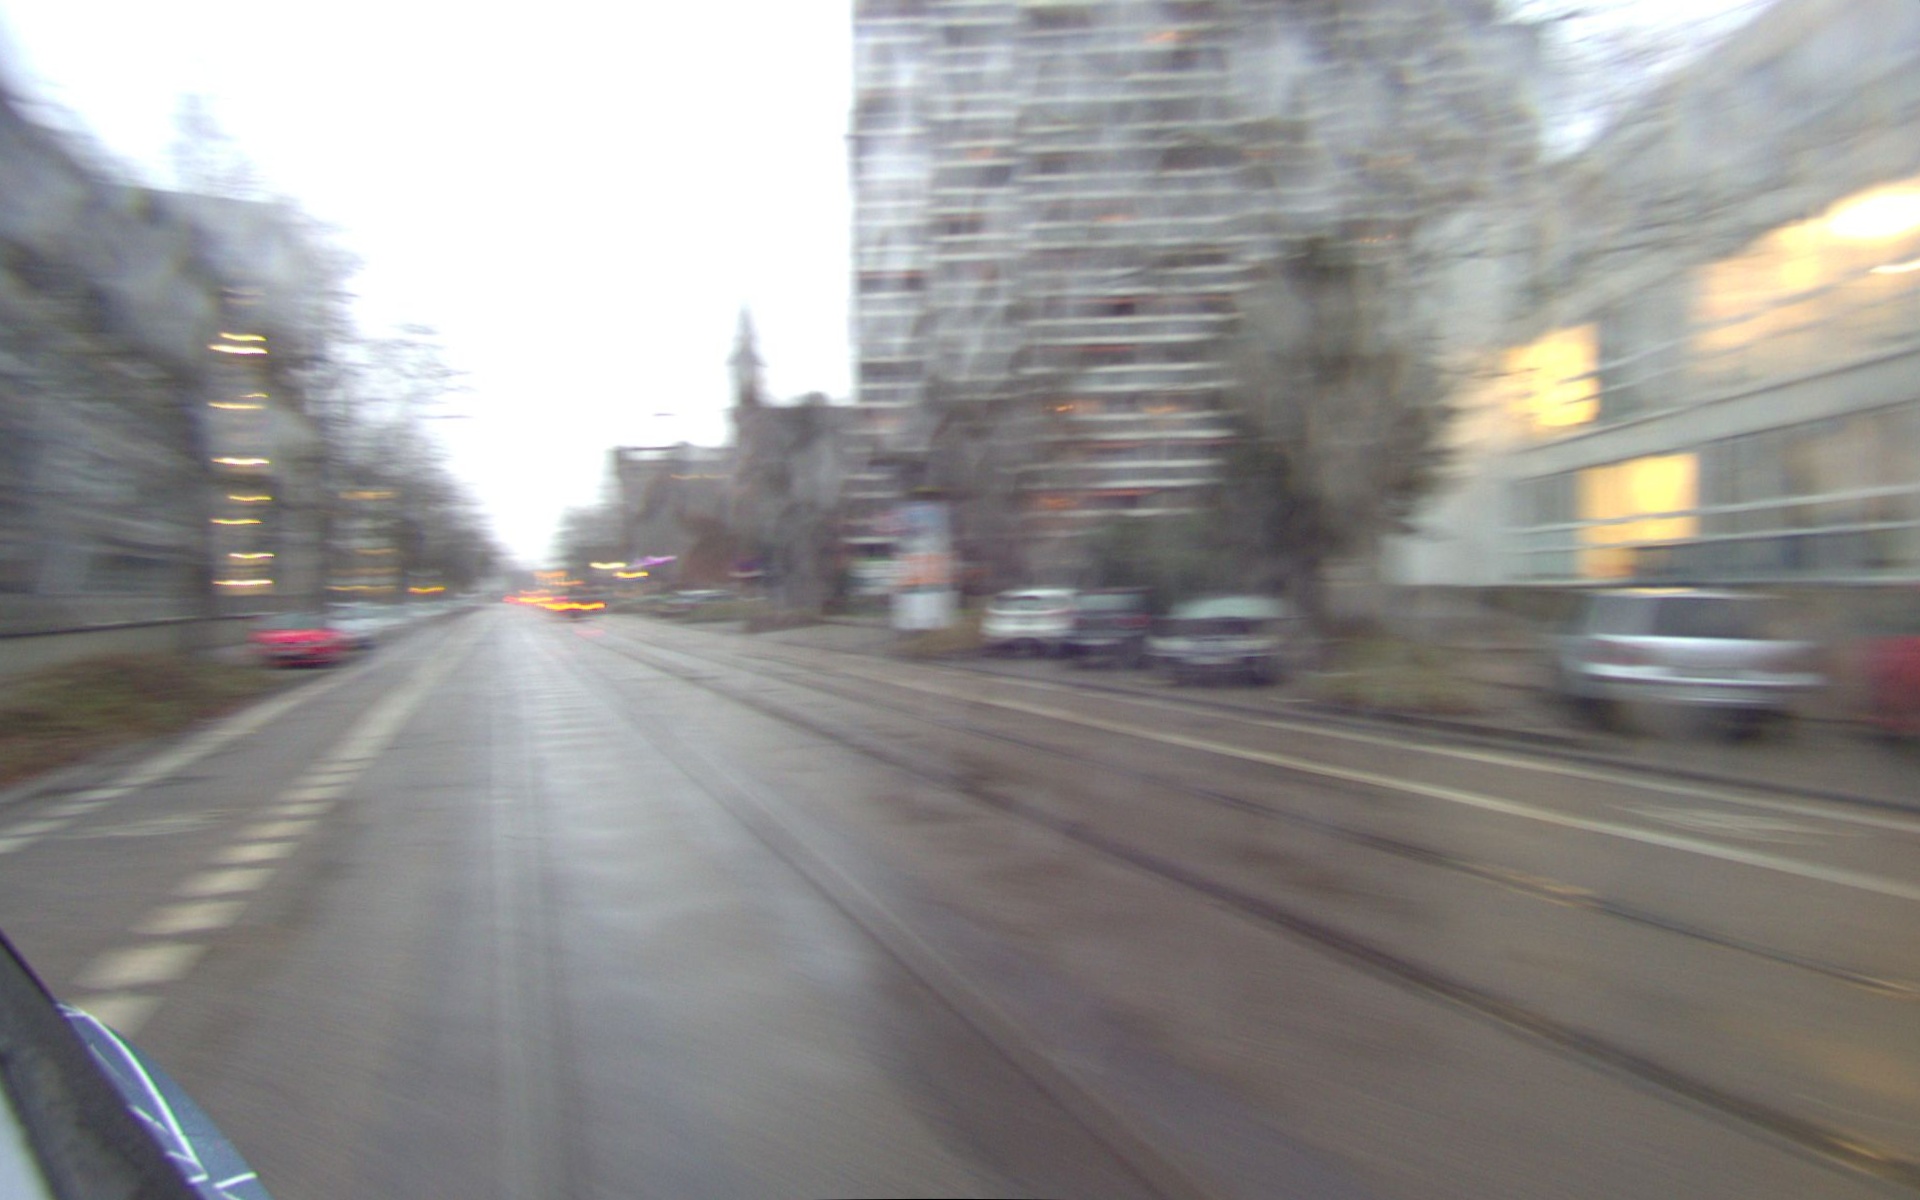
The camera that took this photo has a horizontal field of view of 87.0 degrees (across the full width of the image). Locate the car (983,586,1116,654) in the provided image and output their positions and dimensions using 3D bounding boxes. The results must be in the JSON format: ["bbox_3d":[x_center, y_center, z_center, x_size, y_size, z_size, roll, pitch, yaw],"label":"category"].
[{"bbox_3d":[2.120,0.427,22.932,1.844,1.410,3.968,-1,0,23],"label":"car"}]

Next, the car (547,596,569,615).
[{"bbox_3d":[-34.966,0.454,87.993,1.683,1.591,4.393,-1,-1,-23],"label":"car"}]

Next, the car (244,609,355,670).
[{"bbox_3d":[-16.768,0.954,25.856,1.724,1.397,3.748,-1,-1,-23],"label":"car"}]

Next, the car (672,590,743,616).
[{"bbox_3d":[-15.105,0.190,60.493,3.931,1.497,1.677,-1,-1,-18],"label":"car"}]

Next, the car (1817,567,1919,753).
[{"bbox_3d":[8.720,0.474,8.224,1.719,1.504,3.424,-1,-1,23],"label":"car"}]

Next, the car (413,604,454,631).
[{"bbox_3d":[-32.477,1.064,62.516,1.835,1.606,4.013,-1,-1,-22],"label":"car"}]

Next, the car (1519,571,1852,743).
[{"bbox_3d":[7.346,0.498,10.748,1.779,1.457,3.974,-1,0,19],"label":"car"}]

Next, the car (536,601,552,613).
[{"bbox_3d":[-51.026,0.854,124.064,1.736,1.421,4.013,-1,-1,-24],"label":"car"}]

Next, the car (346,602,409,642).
[{"bbox_3d":[-25.097,0.935,43.689,1.835,1.606,4.013,-1,-1,-22],"label":"car"}]

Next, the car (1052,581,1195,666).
[{"bbox_3d":[3.295,0.425,19.820,1.844,1.473,3.968,-1,0,23],"label":"car"}]

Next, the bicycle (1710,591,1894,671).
[{"bbox_3d":[12.436,0.450,14.978,2.173,1.129,0.642,-1,-1,-2],"label":"bicycle"}]

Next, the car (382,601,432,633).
[{"bbox_3d":[-28.565,0.868,52.384,1.835,1.606,4.013,-1,-1,-22],"label":"car"}]

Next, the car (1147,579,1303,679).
[{"bbox_3d":[4.353,0.418,16.196,1.844,1.389,3.968,-1,0,23],"label":"car"}]

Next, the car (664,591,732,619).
[{"bbox_3d":[-16.375,0.315,63.185,3.931,1.652,2.006,-1,-1,-18],"label":"car"}]

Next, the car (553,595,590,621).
[{"bbox_3d":[-24.406,0.522,63.474,1.723,1.556,4.309,-1,-1,-27],"label":"car"}]

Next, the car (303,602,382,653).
[{"bbox_3d":[-20.672,0.897,34.027,1.724,1.596,3.748,-1,-1,-23],"label":"car"}]

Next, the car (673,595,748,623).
[{"bbox_3d":[-14.035,0.504,56.836,3.931,1.497,1.677,-1,-1,-18],"label":"car"}]
